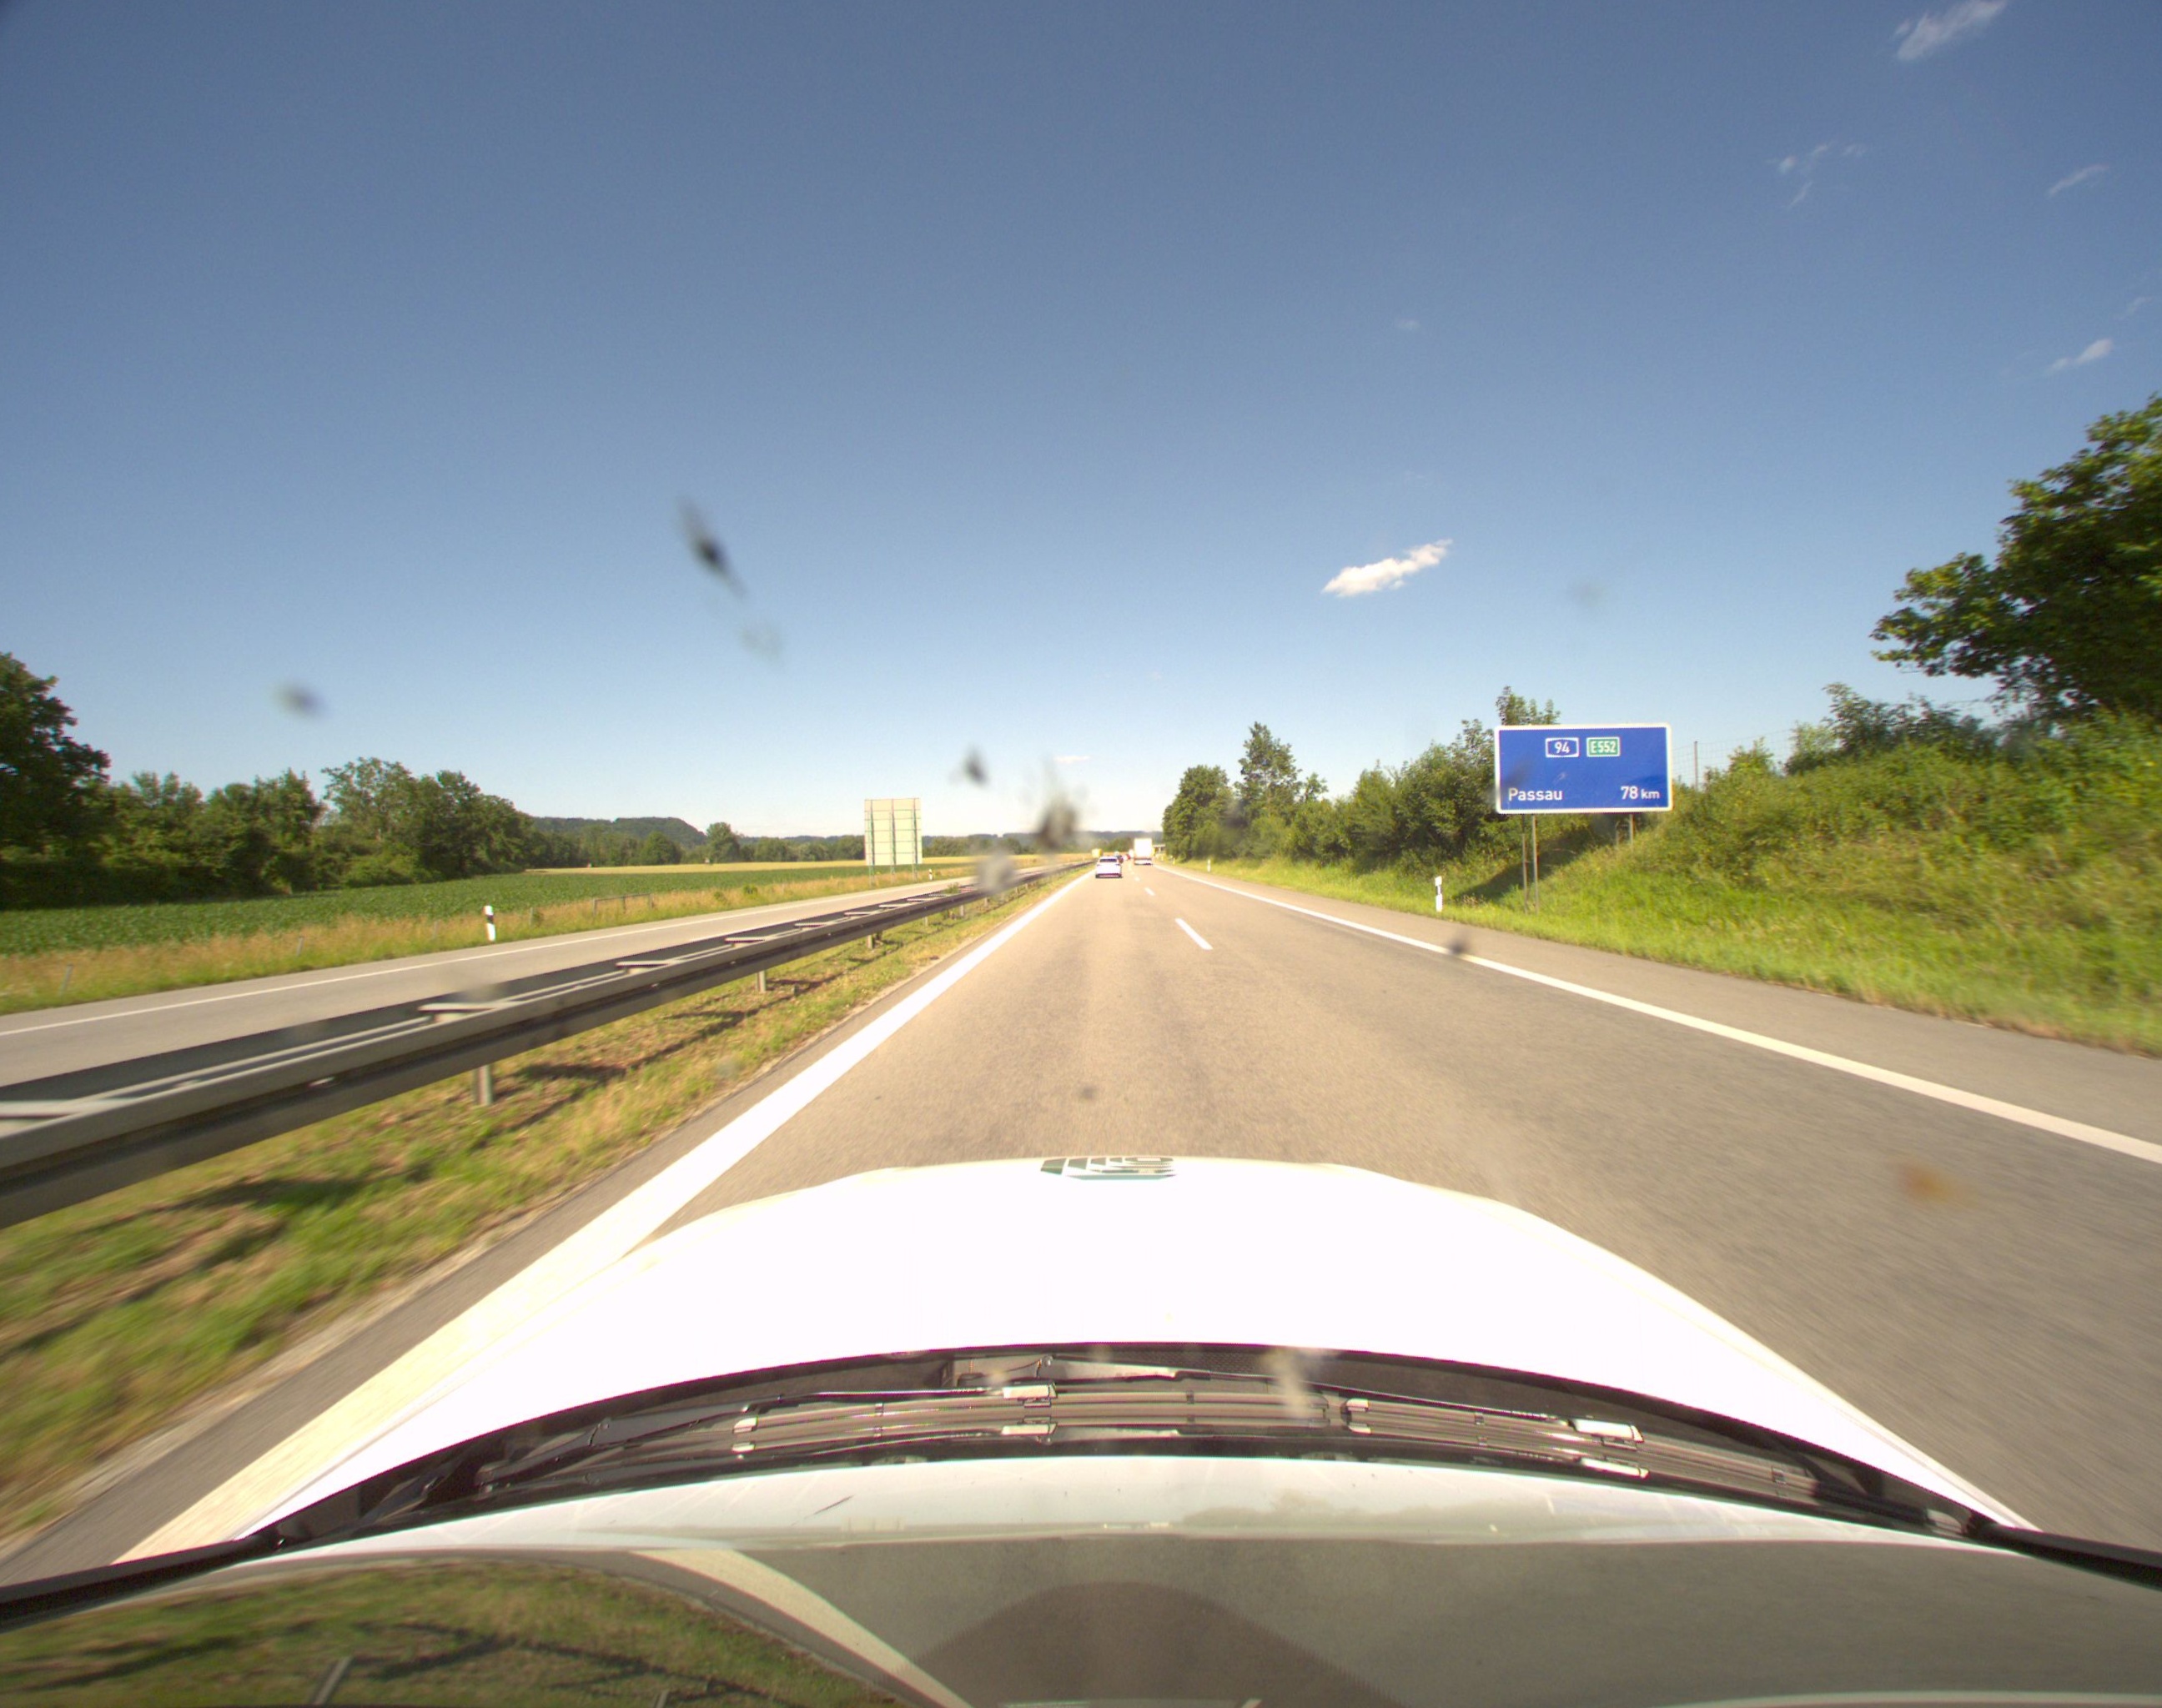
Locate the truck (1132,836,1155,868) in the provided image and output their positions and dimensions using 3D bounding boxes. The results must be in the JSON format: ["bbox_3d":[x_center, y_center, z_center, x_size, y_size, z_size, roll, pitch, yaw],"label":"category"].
[{"bbox_3d":[9.432,-0.267,123.610,3.138,4.612,8.915,-2,0,4],"label":"truck"}]

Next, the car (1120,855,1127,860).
[{"bbox_3d":[10.576,0.871,201.570,1.764,1.421,4.369,-1,0,3],"label":"car"}]

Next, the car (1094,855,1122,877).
[{"bbox_3d":[1.857,0.798,56.201,1.833,1.421,5.257,0,0,2],"label":"car"}]

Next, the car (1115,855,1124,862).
[{"bbox_3d":[7.589,0.857,159.715,1.764,1.421,4.369,-1,0,3],"label":"car"}]

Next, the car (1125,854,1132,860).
[{"bbox_3d":[12.944,0.834,221.704,1.763,1.421,4.369,-1,0,4],"label":"car"}]

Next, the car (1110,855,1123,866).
[{"bbox_3d":[4.952,0.925,114.621,1.764,1.421,4.497,-1,0,2],"label":"car"}]
